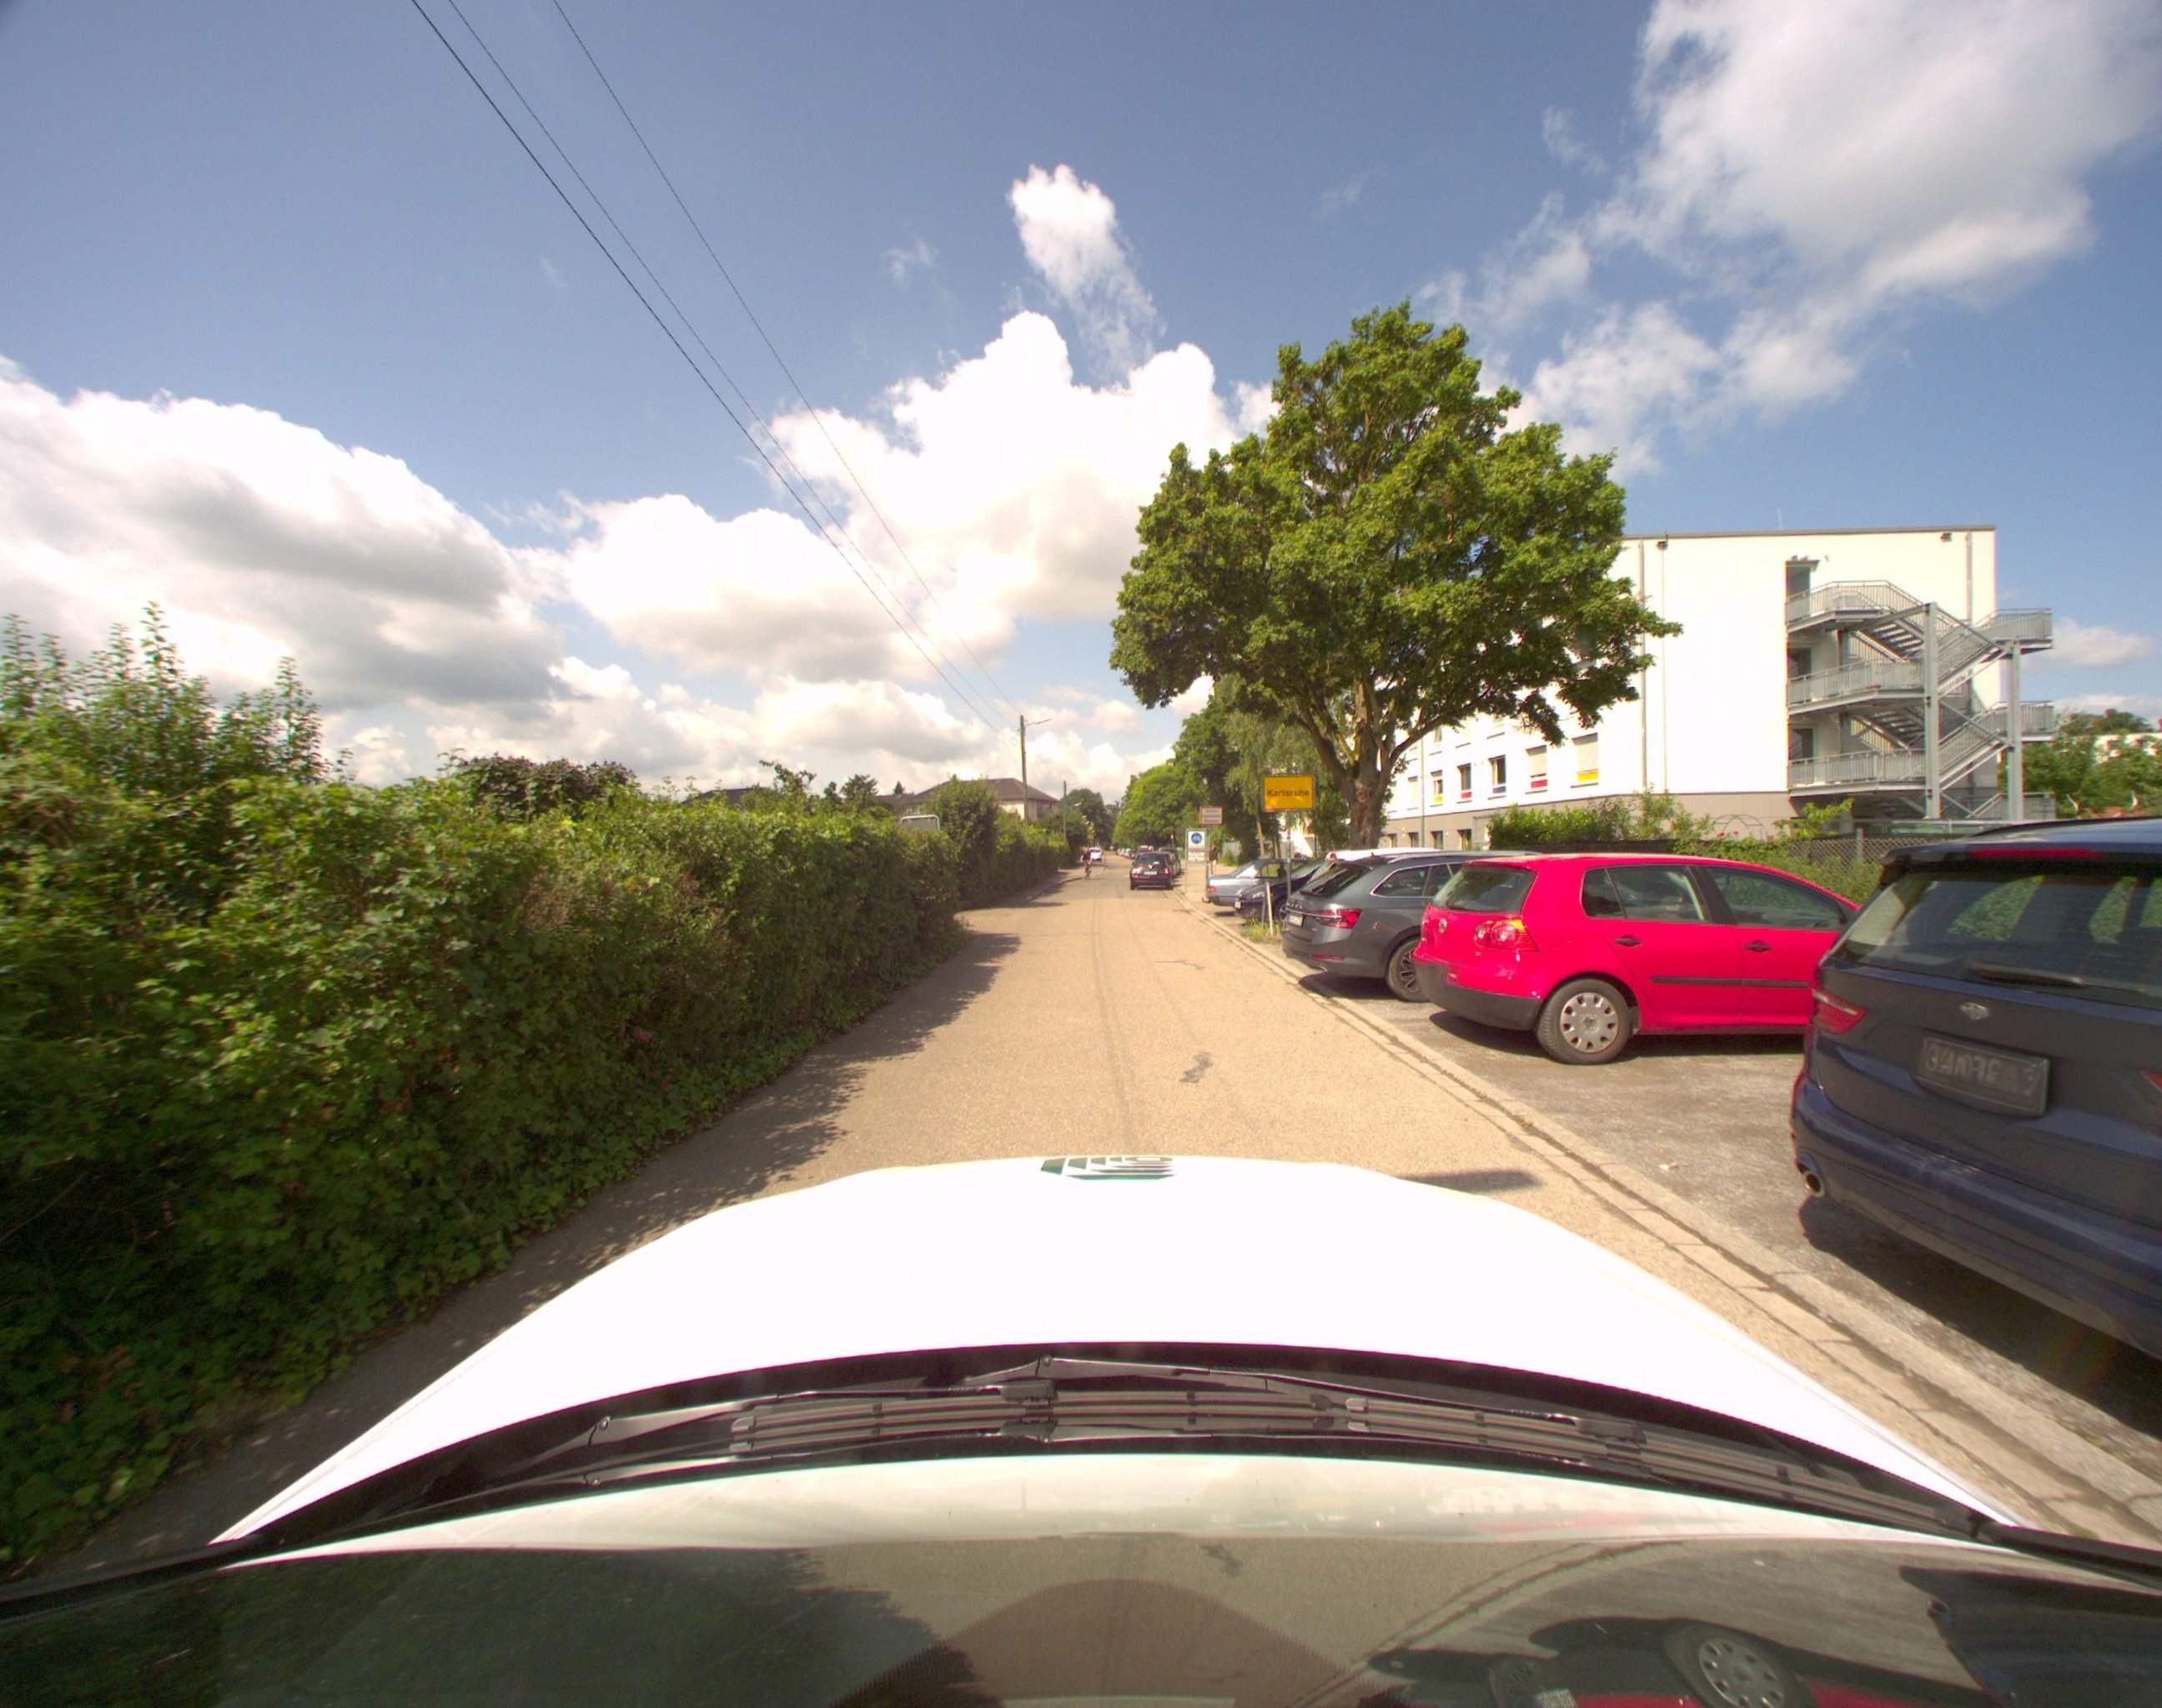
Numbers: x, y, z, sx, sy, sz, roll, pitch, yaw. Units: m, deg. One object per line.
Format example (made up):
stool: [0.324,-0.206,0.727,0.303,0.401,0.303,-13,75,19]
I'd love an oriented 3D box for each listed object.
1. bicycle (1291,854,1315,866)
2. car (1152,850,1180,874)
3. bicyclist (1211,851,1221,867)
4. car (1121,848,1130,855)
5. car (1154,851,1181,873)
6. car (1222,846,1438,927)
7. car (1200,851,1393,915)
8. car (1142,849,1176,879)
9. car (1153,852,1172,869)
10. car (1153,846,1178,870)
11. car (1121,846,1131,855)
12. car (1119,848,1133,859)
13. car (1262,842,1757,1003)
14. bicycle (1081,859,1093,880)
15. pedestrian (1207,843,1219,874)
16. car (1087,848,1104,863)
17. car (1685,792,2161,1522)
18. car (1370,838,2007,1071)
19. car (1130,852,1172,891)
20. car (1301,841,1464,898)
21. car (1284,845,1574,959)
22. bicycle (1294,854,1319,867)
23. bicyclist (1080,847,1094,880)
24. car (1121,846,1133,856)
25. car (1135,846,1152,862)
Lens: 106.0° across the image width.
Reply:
bicycle: [21.029,0.596,77.229,2.037,1.079,0.689,-2,0,4]
car: [5.390,0.475,51.453,1.655,1.439,3.751,0,0,6]
bicyclist: [14.917,0.516,89.658,0.777,1.785,0.900,0,0,34]
car: [10.810,-0.571,196.457,1.842,1.618,4.007,0,0,6]
car: [5.920,0.524,55.879,1.656,1.435,3.544,0,0,3]
car: [5.046,0.638,16.875,3.920,1.559,1.867,0,0,0]
car: [5.157,0.700,19.983,4.337,1.392,1.721,-2,0,5]
car: [4.381,0.537,45.155,1.654,1.552,3.646,0,0,9]
car: [7.659,0.589,76.804,1.671,1.519,4.005,0,0,4]
car: [6.608,0.311,63.221,1.864,1.806,3.438,0,0,6]
car: [10.041,-0.697,181.638,1.986,2.013,4.001,0,0,1]
car: [6.992,-0.092,126.854,2.049,1.652,4.546,0,0,4]
car: [4.457,0.679,8.973,4.534,1.578,1.808,0,0,0]
bicycle: [0.357,0.902,47.945,0.515,1.150,1.829,-2,0,4]
pedestrian: [7.456,0.253,45.923,0.606,1.745,0.725,0,0,15]
car: [1.802,0.234,102.233,1.894,1.814,4.005,0,0,4]
car: [4.502,0.628,2.307,4.138,1.637,1.880,-1,0,2]
car: [4.535,0.705,6.561,3.795,1.532,1.762,-1,0,1]
car: [2.966,0.683,33.950,1.655,1.506,4.007,0,0,6]
car: [8.962,0.454,24.469,4.226,1.430,1.759,-3,0,0]
car: [4.972,0.659,11.953,3.564,1.549,1.665,0,0,-2]
bicycle: [20.967,0.578,75.720,2.078,1.119,0.626,-2,0,6]
bicyclist: [0.341,0.553,47.874,0.656,1.852,1.044,-2,0,4]
car: [8.593,-0.532,151.921,2.049,1.961,4.546,0,0,4]
car: [7.896,-0.018,102.303,2.049,1.926,4.546,0,0,4]
